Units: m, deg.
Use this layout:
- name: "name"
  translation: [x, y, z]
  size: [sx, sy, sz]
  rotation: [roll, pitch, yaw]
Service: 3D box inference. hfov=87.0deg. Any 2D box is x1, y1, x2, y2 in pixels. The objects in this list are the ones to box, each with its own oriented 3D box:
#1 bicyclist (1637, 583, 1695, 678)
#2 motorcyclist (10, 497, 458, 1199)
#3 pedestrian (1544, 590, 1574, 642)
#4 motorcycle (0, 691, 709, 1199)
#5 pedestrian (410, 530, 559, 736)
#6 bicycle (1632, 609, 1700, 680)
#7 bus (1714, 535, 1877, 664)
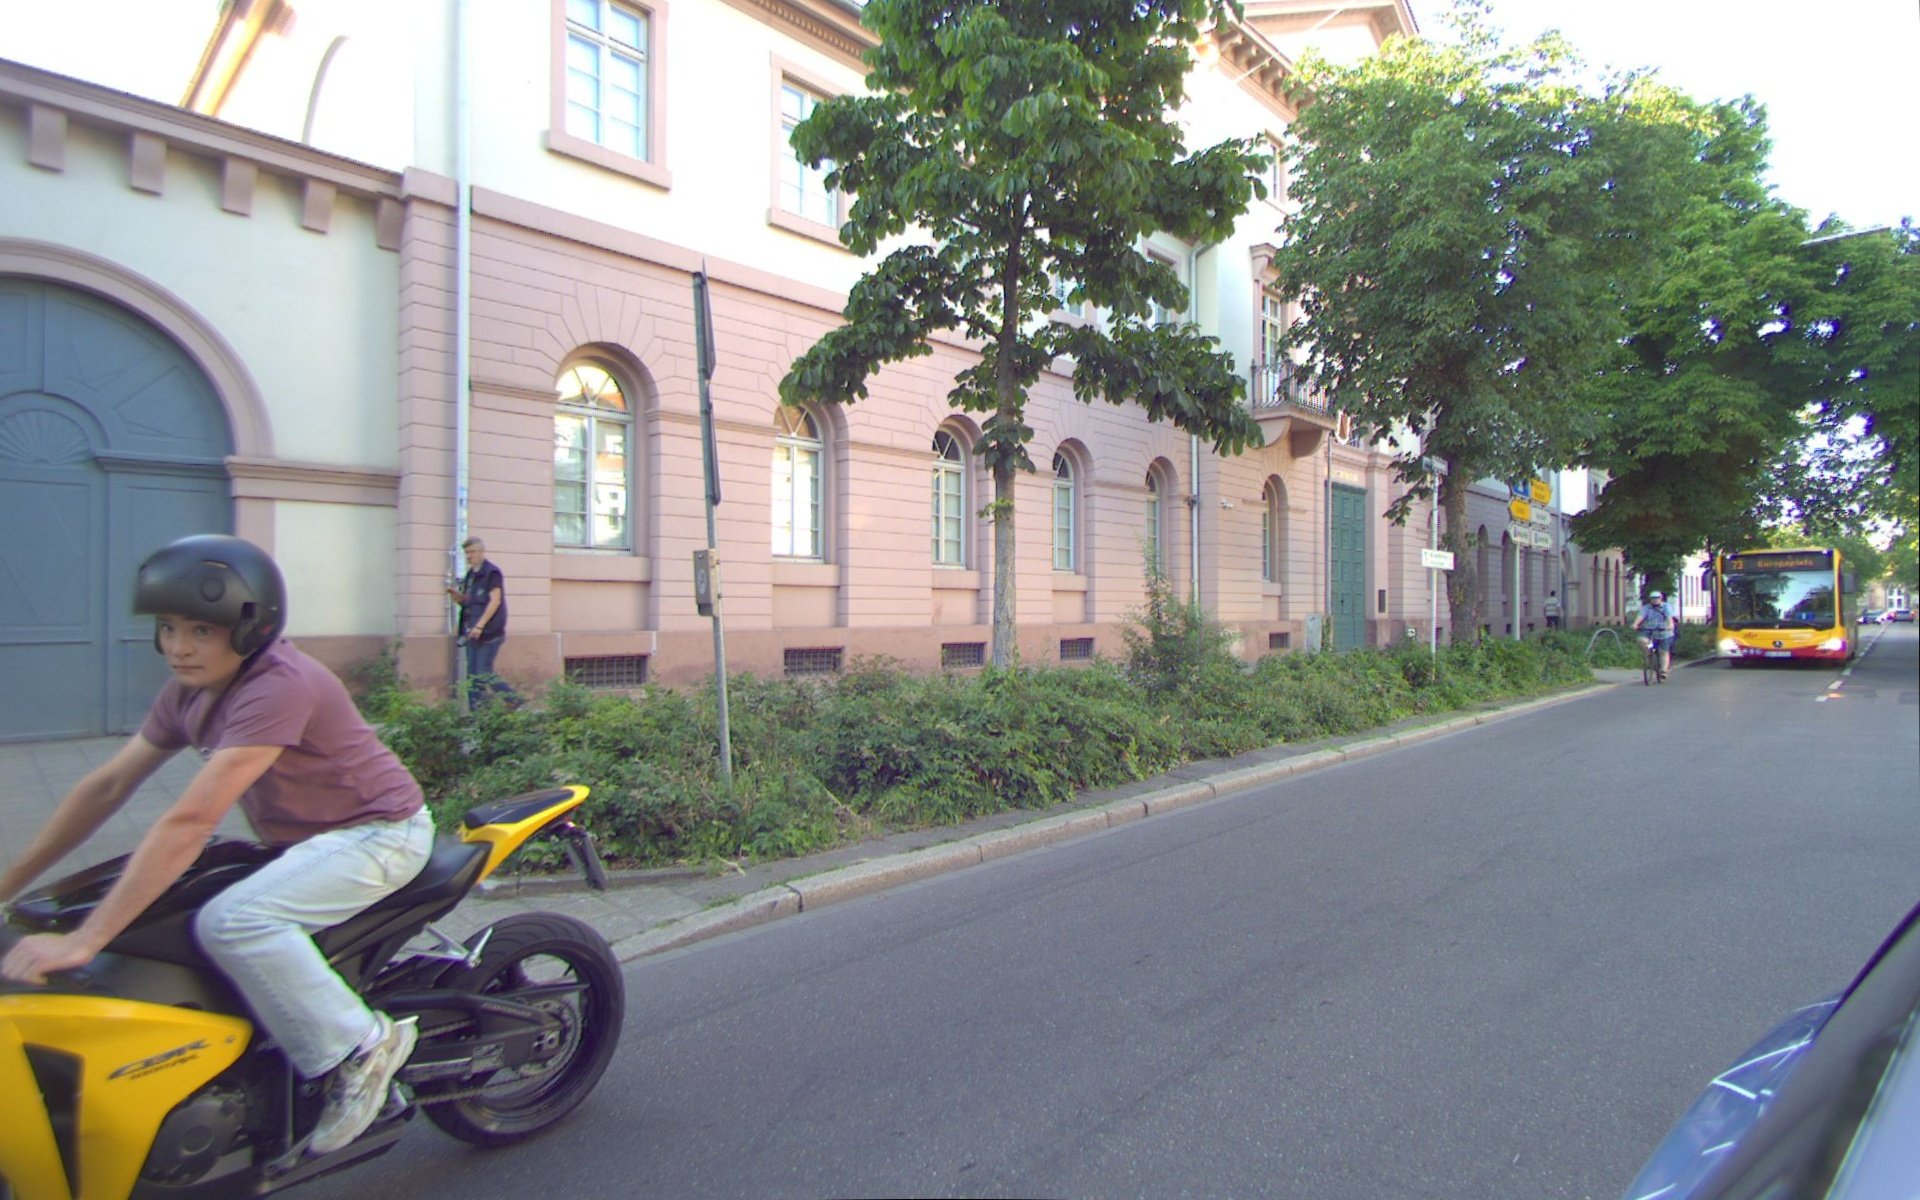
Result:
- name: "bicyclist"
  translation: [14.182, 0.604, 20.342]
  size: [0.781, 1.863, 0.813]
  rotation: [-3, -3, 44]
- name: "motorcyclist"
  translation: [-1.697, 0.538, 2.371]
  size: [0.790, 1.438, 0.688]
  rotation: [-2, -2, 41]
- name: "pedestrian"
  translation: [22.048, 0.582, 37.222]
  size: [0.797, 1.855, 0.915]
  rotation: [0, -1, 42]
- name: "motorcycle"
  translation: [-1.650, 0.886, 2.437]
  size: [0.790, 1.175, 1.938]
  rotation: [-2, -2, 40]
- name: "pedestrian"
  translation: [-4.607, 0.287, 9.815]
  size: [1.065, 1.862, 0.799]
  rotation: [1, 1, -45]
- name: "bicycle"
  translation: [14.239, 0.864, 20.386]
  size: [0.781, 1.347, 2.045]
  rotation: [-3, -2, 43]
- name: "bus"
  translation: [24.271, 0.035, 29.065]
  size: [2.703, 3.039, 11.890]
  rotation: [-3, -2, 44]
